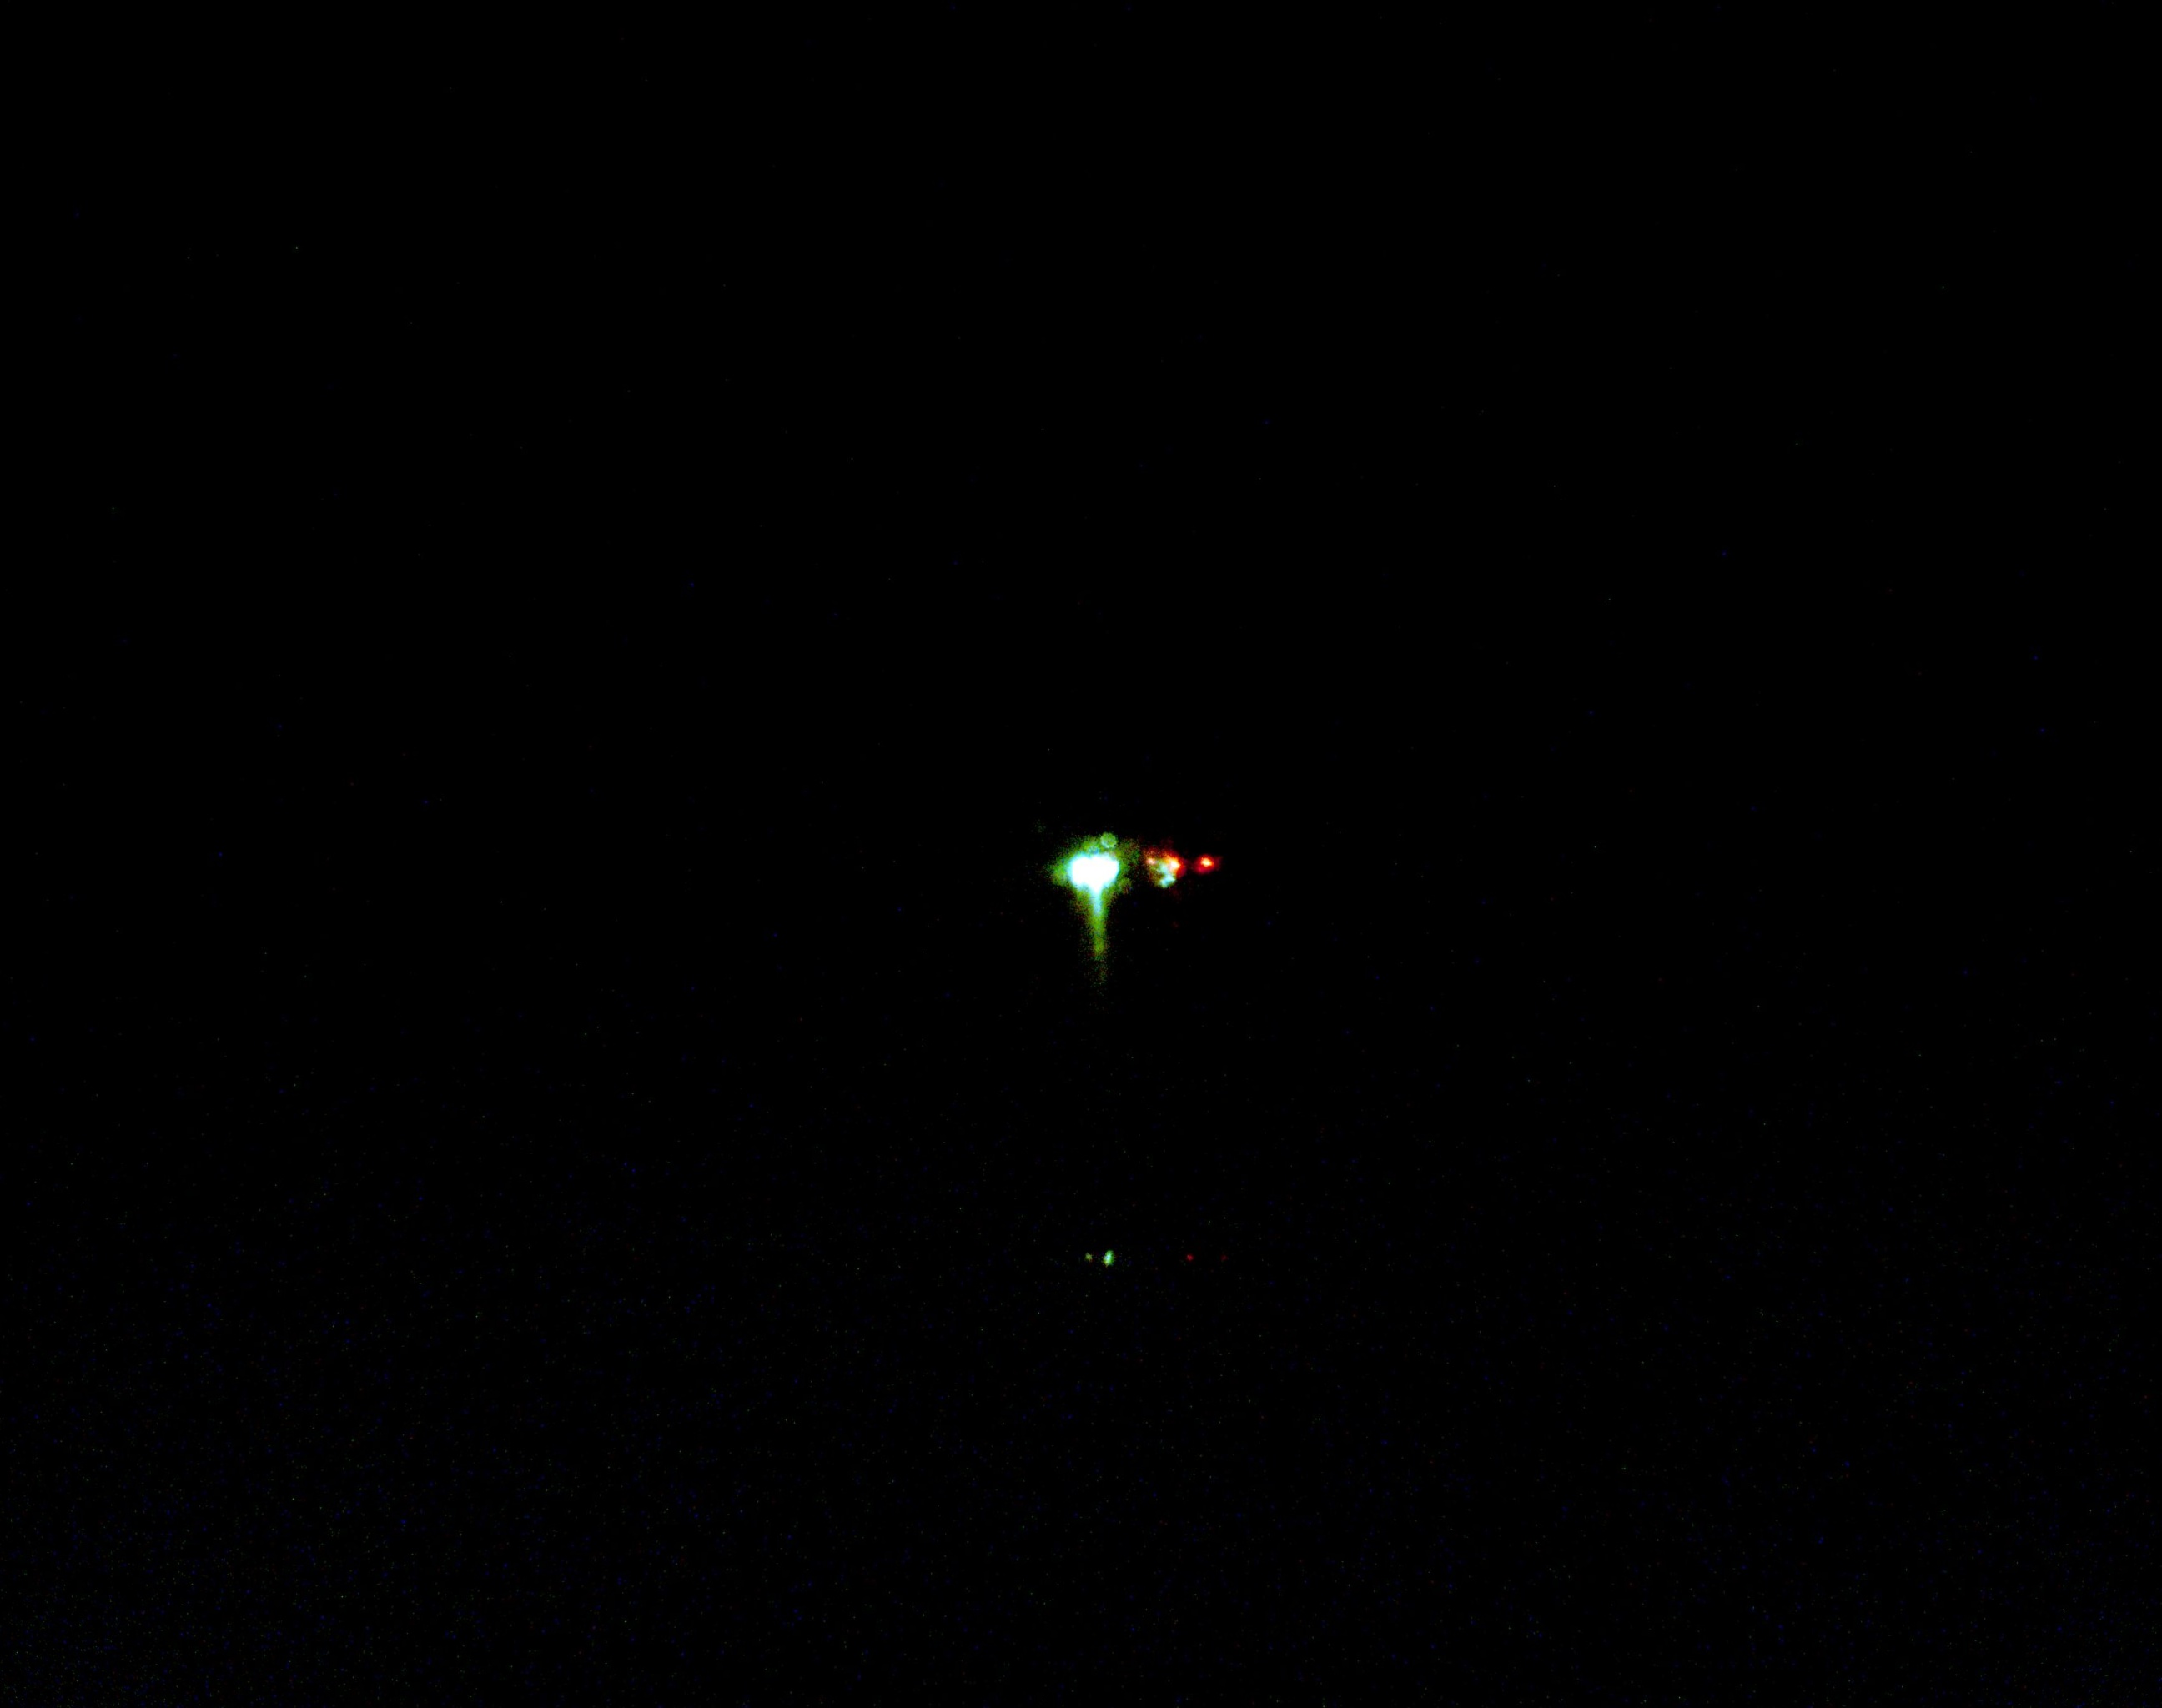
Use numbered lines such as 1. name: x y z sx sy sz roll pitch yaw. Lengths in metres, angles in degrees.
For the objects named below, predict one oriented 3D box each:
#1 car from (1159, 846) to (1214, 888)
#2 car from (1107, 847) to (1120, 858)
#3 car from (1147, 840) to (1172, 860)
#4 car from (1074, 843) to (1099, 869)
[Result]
1. car: 4.776 0.537 34.830 1.951 1.718 3.999 -2 1 1
2. car: 5.795 -0.286 136.880 2.112 1.702 4.000 -2 1 1
3. car: 7.667 -0.415 74.290 1.998 1.849 4.441 -2 1 1
4. car: 0.525 0.131 63.932 1.998 2.002 4.000 -2 1 1
